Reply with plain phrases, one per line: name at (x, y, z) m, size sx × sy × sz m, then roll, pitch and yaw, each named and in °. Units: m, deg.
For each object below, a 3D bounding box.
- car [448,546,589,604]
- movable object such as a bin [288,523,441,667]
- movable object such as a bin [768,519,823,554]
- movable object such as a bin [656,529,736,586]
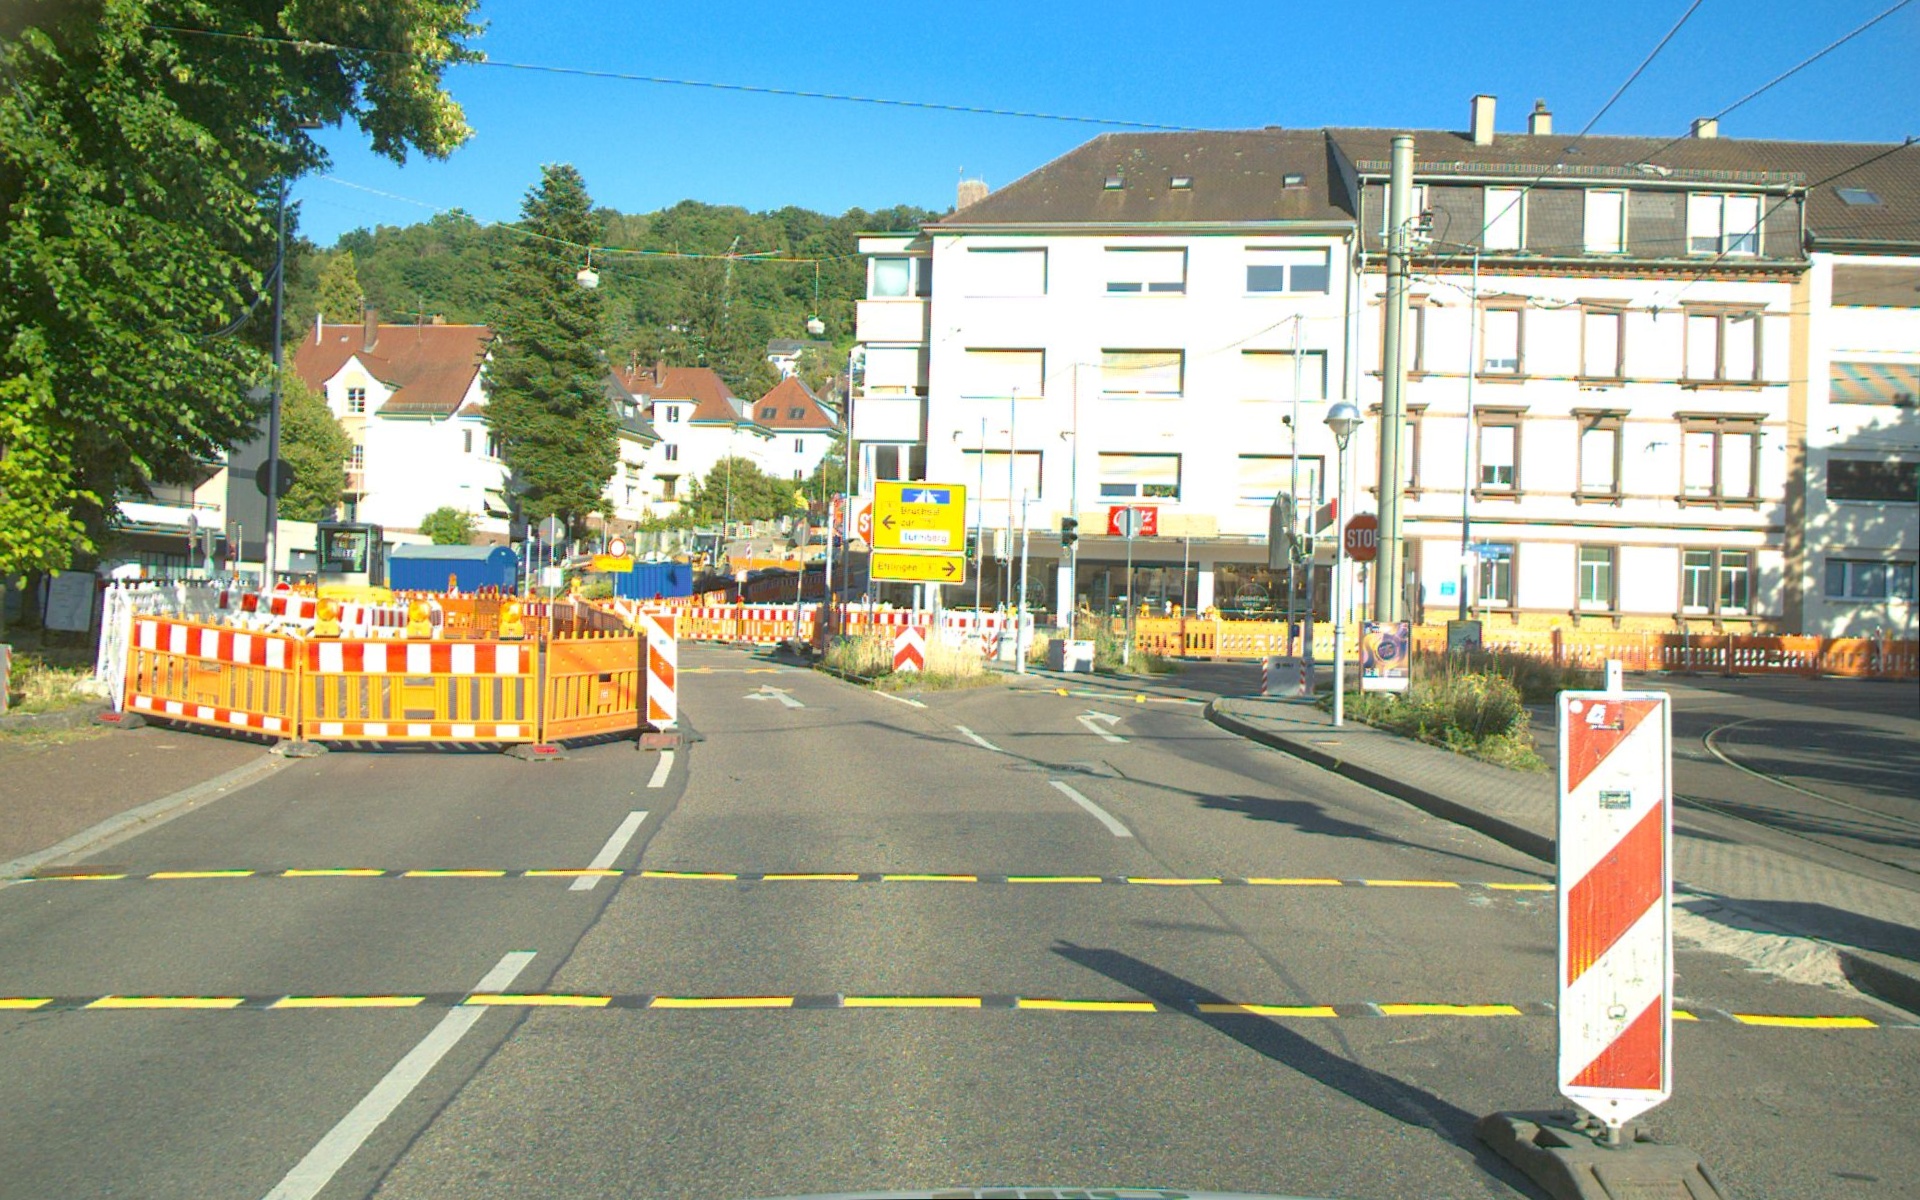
car at (-17.478, -0.944, 65.876) m, size 2.529 × 2.158 × 6.154 m, roll 1°, pitch 0°, yaw 17°
movable object such as a bin at (-10.471, -0.096, 29.338) m, size 1.615 × 2.365 × 3.916 m, roll 1°, pitch 0°, yaw -6°
movable object such as a bin at (-11.371, -4.394, 114.740) m, size 2.510 × 2.159 × 5.789 m, roll 1°, pitch 0°, yaw 8°
movable object such as a bin at (-12.530, -2.006, 78.790) m, size 1.907 × 2.538 × 4.554 m, roll 1°, pitch 0°, yaw 17°
